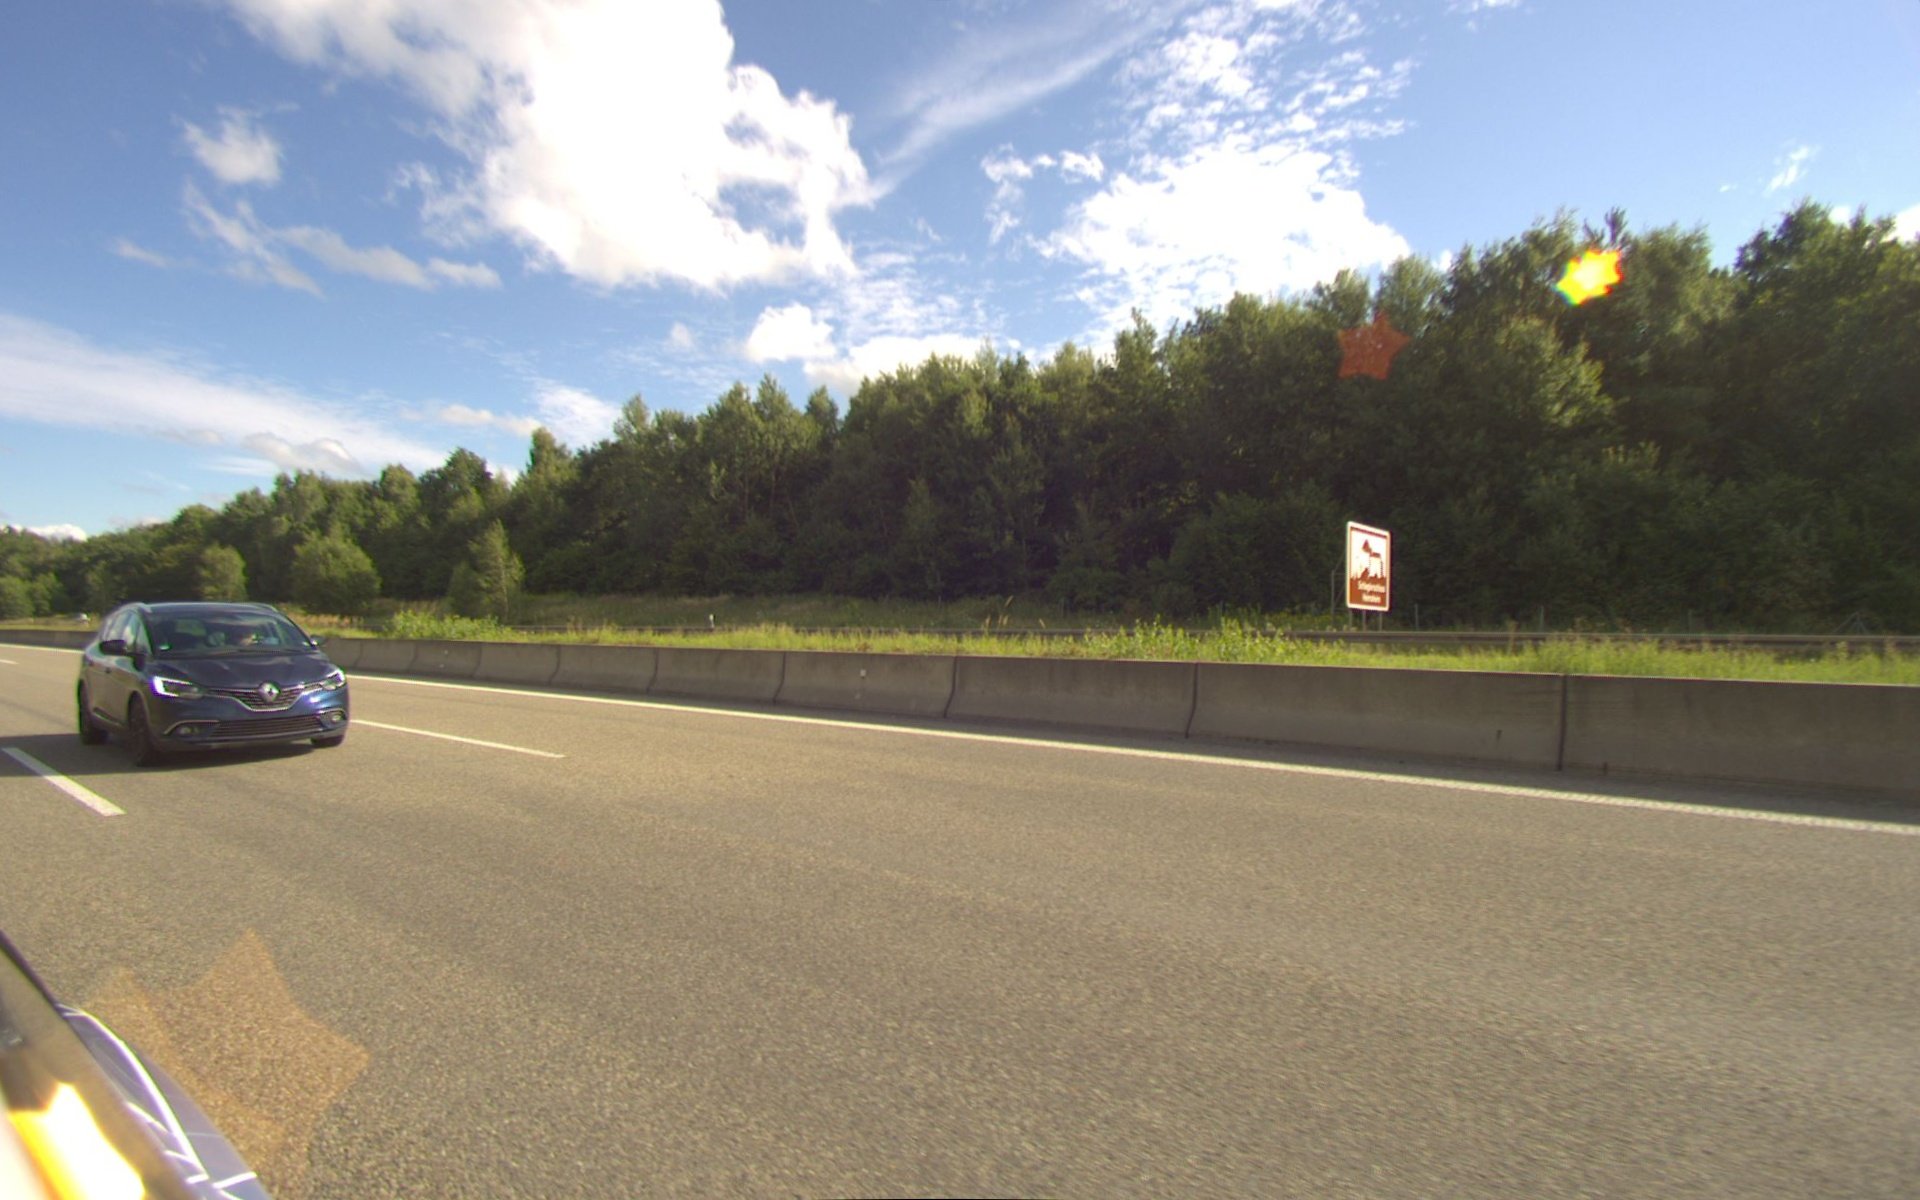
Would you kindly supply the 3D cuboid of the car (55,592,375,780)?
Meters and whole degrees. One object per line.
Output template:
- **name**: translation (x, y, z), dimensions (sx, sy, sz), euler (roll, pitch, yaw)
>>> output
- **car**: translation (-8.616, 0.822, 11.546), dimensions (4.526, 1.719, 1.973), euler (-1, 0, 41)

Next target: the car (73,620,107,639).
- **car**: translation (-85.979, 2.944, 100.008), dimensions (3.998, 1.814, 1.973), euler (-1, -1, 41)

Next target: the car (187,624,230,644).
- **car**: translation (-59.209, 2.677, 79.730), dimensions (3.998, 1.463, 1.887), euler (-1, -1, 41)
